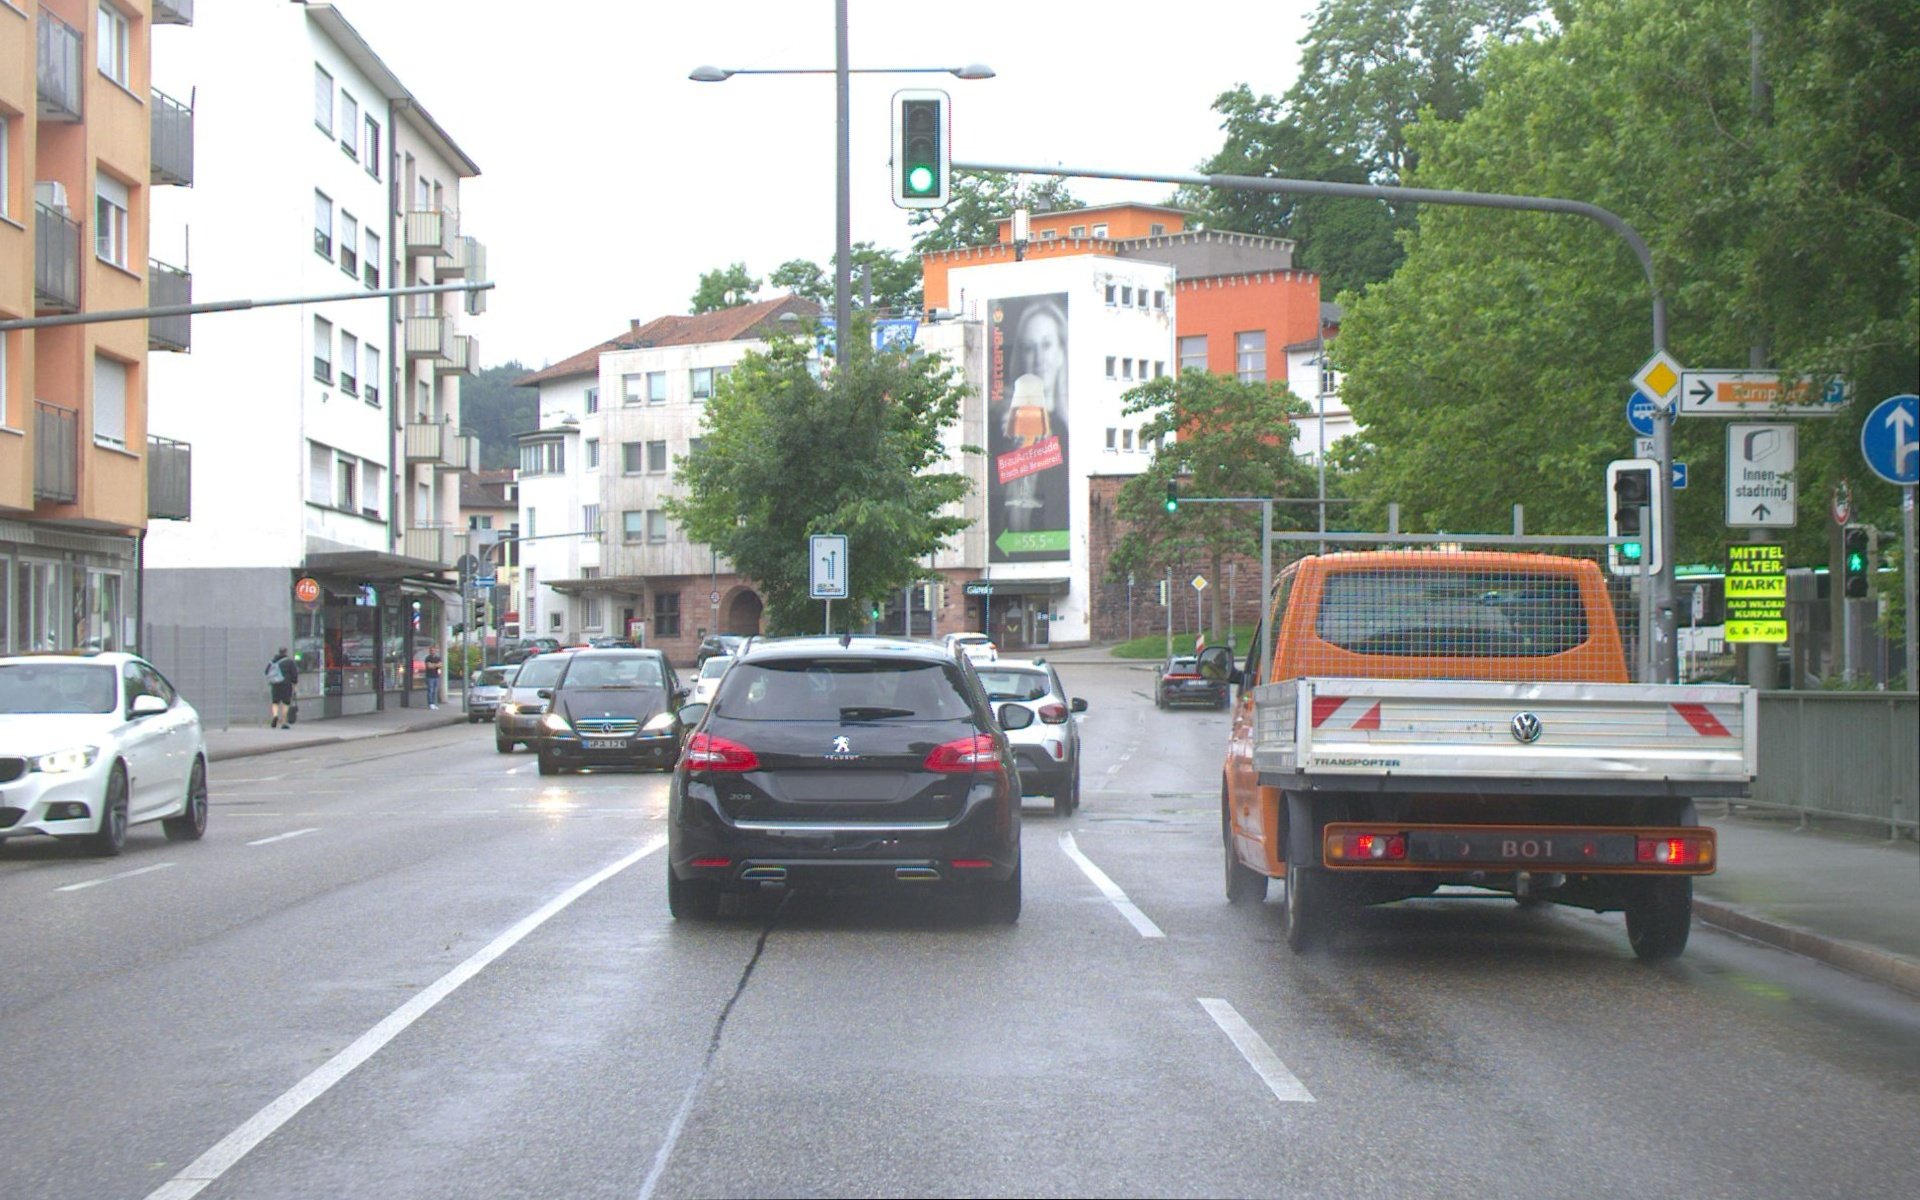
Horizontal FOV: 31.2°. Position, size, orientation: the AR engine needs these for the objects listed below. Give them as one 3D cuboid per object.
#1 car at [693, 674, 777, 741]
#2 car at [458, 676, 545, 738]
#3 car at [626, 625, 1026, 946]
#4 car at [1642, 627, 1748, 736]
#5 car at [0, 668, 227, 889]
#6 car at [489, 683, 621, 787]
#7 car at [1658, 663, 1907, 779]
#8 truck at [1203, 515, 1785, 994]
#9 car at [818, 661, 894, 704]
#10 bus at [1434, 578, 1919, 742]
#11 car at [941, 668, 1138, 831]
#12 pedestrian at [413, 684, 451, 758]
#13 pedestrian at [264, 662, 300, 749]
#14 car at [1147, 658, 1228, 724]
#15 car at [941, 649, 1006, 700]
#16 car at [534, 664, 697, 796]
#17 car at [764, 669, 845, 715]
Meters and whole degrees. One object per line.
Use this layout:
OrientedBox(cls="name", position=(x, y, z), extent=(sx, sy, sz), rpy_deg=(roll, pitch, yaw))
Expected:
OrientedBox(cls="car", position=(-5.123, 2.448, 78.509), extent=(1.654, 1.445, 3.543), rpy_deg=(-2, -1, 0))
OrientedBox(cls="car", position=(-11.617, 2.707, 87.312), extent=(1.777, 1.520, 3.661), rpy_deg=(0, -1, -1))
OrientedBox(cls="car", position=(-0.599, 0.949, 18.334), extent=(1.795, 1.479, 3.999), rpy_deg=(1, -2, 2))
OrientedBox(cls="car", position=(20.557, 2.286, 96.289), extent=(2.072, 2.961, 4.227), rpy_deg=(1, -2, 0))
OrientedBox(cls="car", position=(-6.914, 1.272, 25.991), extent=(1.836, 1.505, 4.820), rpy_deg=(0, -1, -1))
OrientedBox(cls="car", position=(-6.529, 2.162, 55.727), extent=(1.736, 1.596, 3.919), rpy_deg=(0, -1, -1))
OrientedBox(cls="car", position=(14.647, 2.149, 61.403), extent=(3.987, 1.918, 1.969), rpy_deg=(1, -1, 3))
OrientedBox(cls="truck", position=(2.455, 0.684, 17.085), extent=(2.122, 2.018, 4.715), rpy_deg=(1, -1, 0))
OrientedBox(cls="car", position=(-4.153, 3.301, 137.028), extent=(1.644, 1.559, 3.600), rpy_deg=(4, -4, -25))
OrientedBox(cls="bus", position=(25.006, 2.028, 114.827), extent=(17.919, 5.194, 3.098), rpy_deg=(1, -2, 3))
OrientedBox(cls="car", position=(0.805, 1.419, 33.507), extent=(1.795, 1.478, 3.999), rpy_deg=(0, -1, 2))
OrientedBox(cls="pedestrian", position=(-14.735, 3.381, 95.966), extent=(0.726, 2.007, 0.657), rpy_deg=(5, -4, -33))
OrientedBox(cls="pedestrian", position=(-14.498, 2.254, 73.554), extent=(0.639, 1.855, 0.524), rpy_deg=(1, -1, -2))
OrientedBox(cls="car", position=(6.078, 2.460, 92.077), extent=(1.644, 1.559, 3.600), rpy_deg=(3, -4, -3))
OrientedBox(cls="car", position=(0.463, 2.704, 125.626), extent=(1.993, 1.815, 4.000), rpy_deg=(1, -1, -5))
OrientedBox(cls="car", position=(-4.435, 1.656, 44.732), extent=(1.736, 1.596, 3.919), rpy_deg=(-2, -1, -1))
OrientedBox(cls="car", position=(-5.754, 3.422, 126.988), extent=(1.644, 1.559, 3.600), rpy_deg=(4, -4, -25))
